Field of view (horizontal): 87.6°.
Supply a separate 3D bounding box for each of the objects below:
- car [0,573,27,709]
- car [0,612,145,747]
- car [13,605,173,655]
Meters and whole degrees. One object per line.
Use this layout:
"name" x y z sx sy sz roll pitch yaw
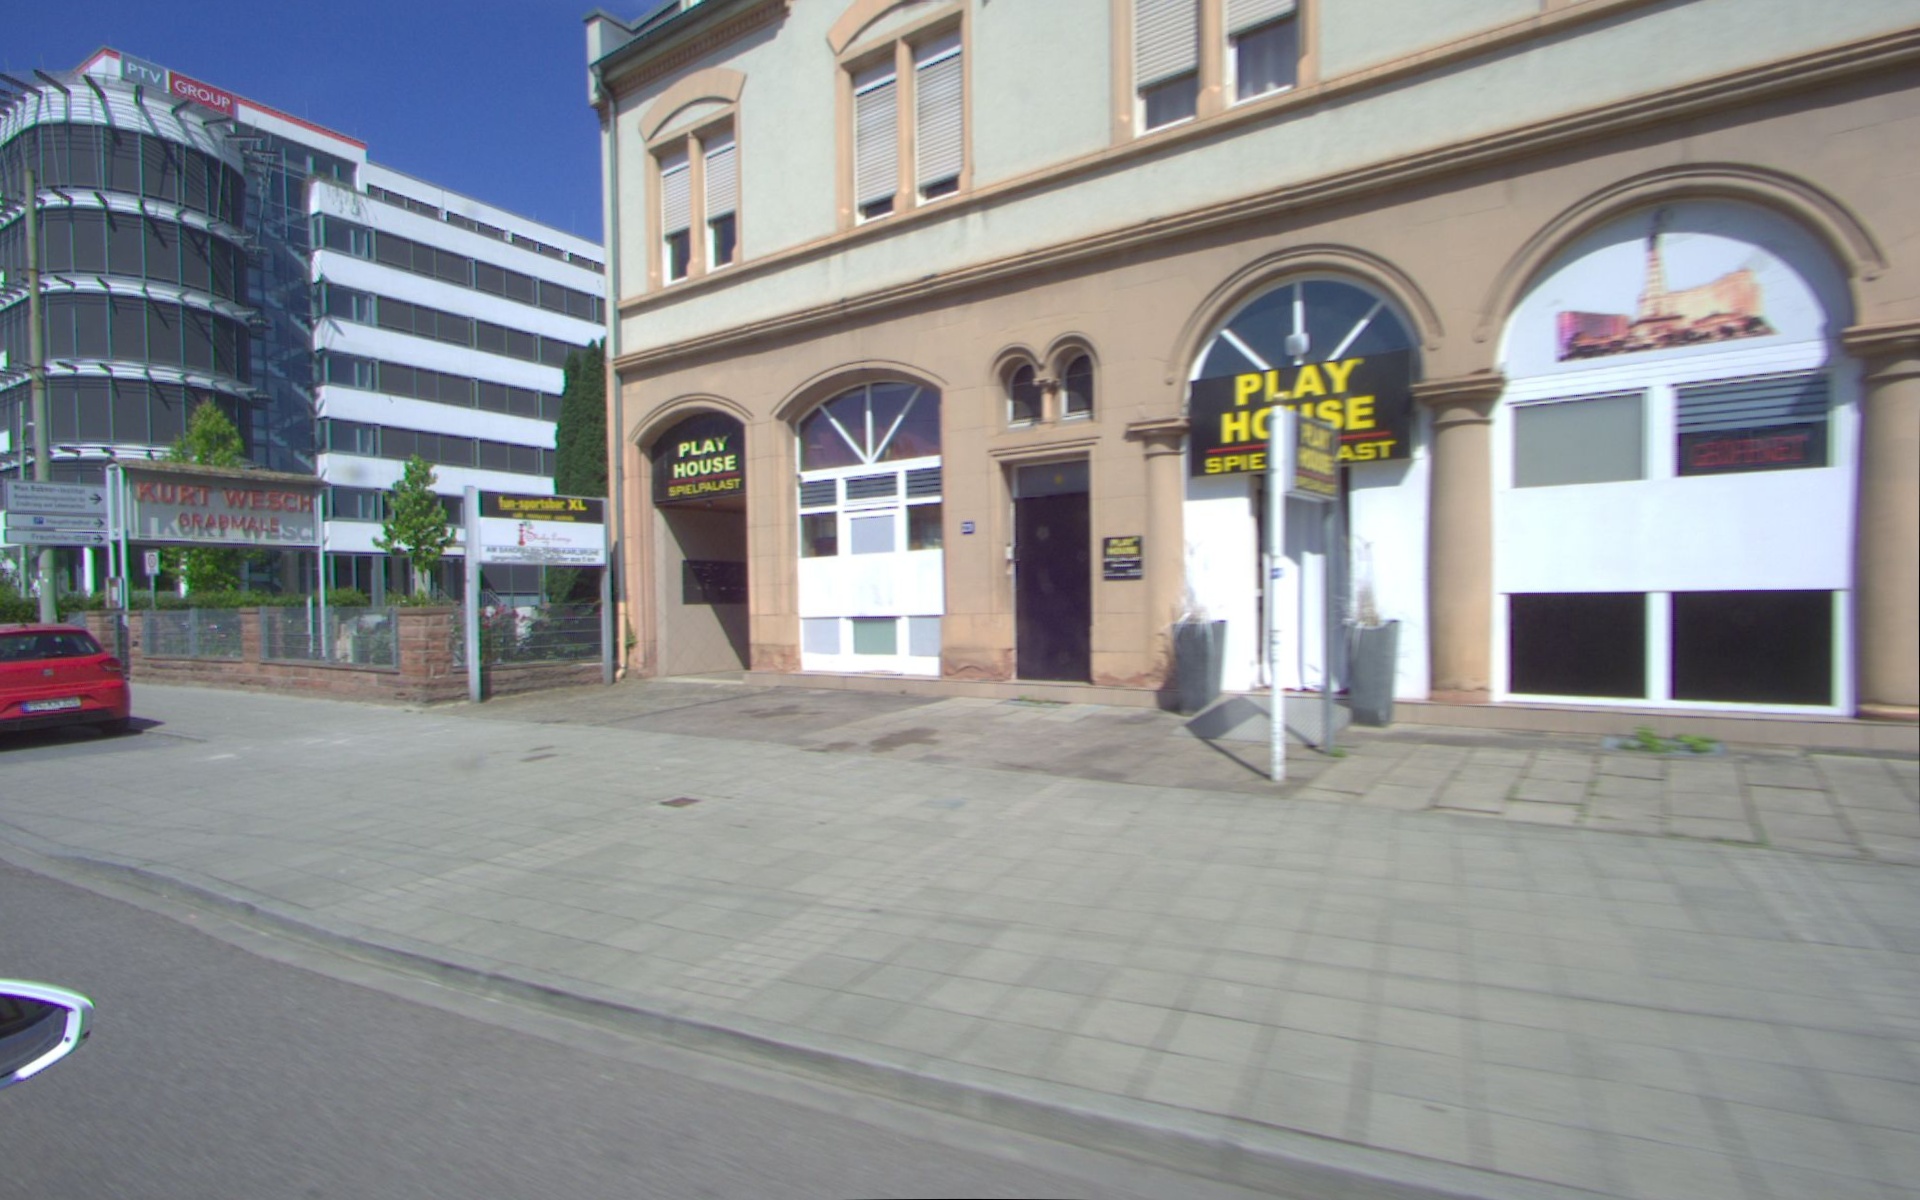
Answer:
"car" -17.271 0.689 16.166 5.118 2.083 1.971 -1 2 33
"car" -12.340 0.932 12.813 4.252 1.463 1.717 -1 2 33
"car" -27.645 0.901 32.022 1.570 1.492 3.585 0 0 33
